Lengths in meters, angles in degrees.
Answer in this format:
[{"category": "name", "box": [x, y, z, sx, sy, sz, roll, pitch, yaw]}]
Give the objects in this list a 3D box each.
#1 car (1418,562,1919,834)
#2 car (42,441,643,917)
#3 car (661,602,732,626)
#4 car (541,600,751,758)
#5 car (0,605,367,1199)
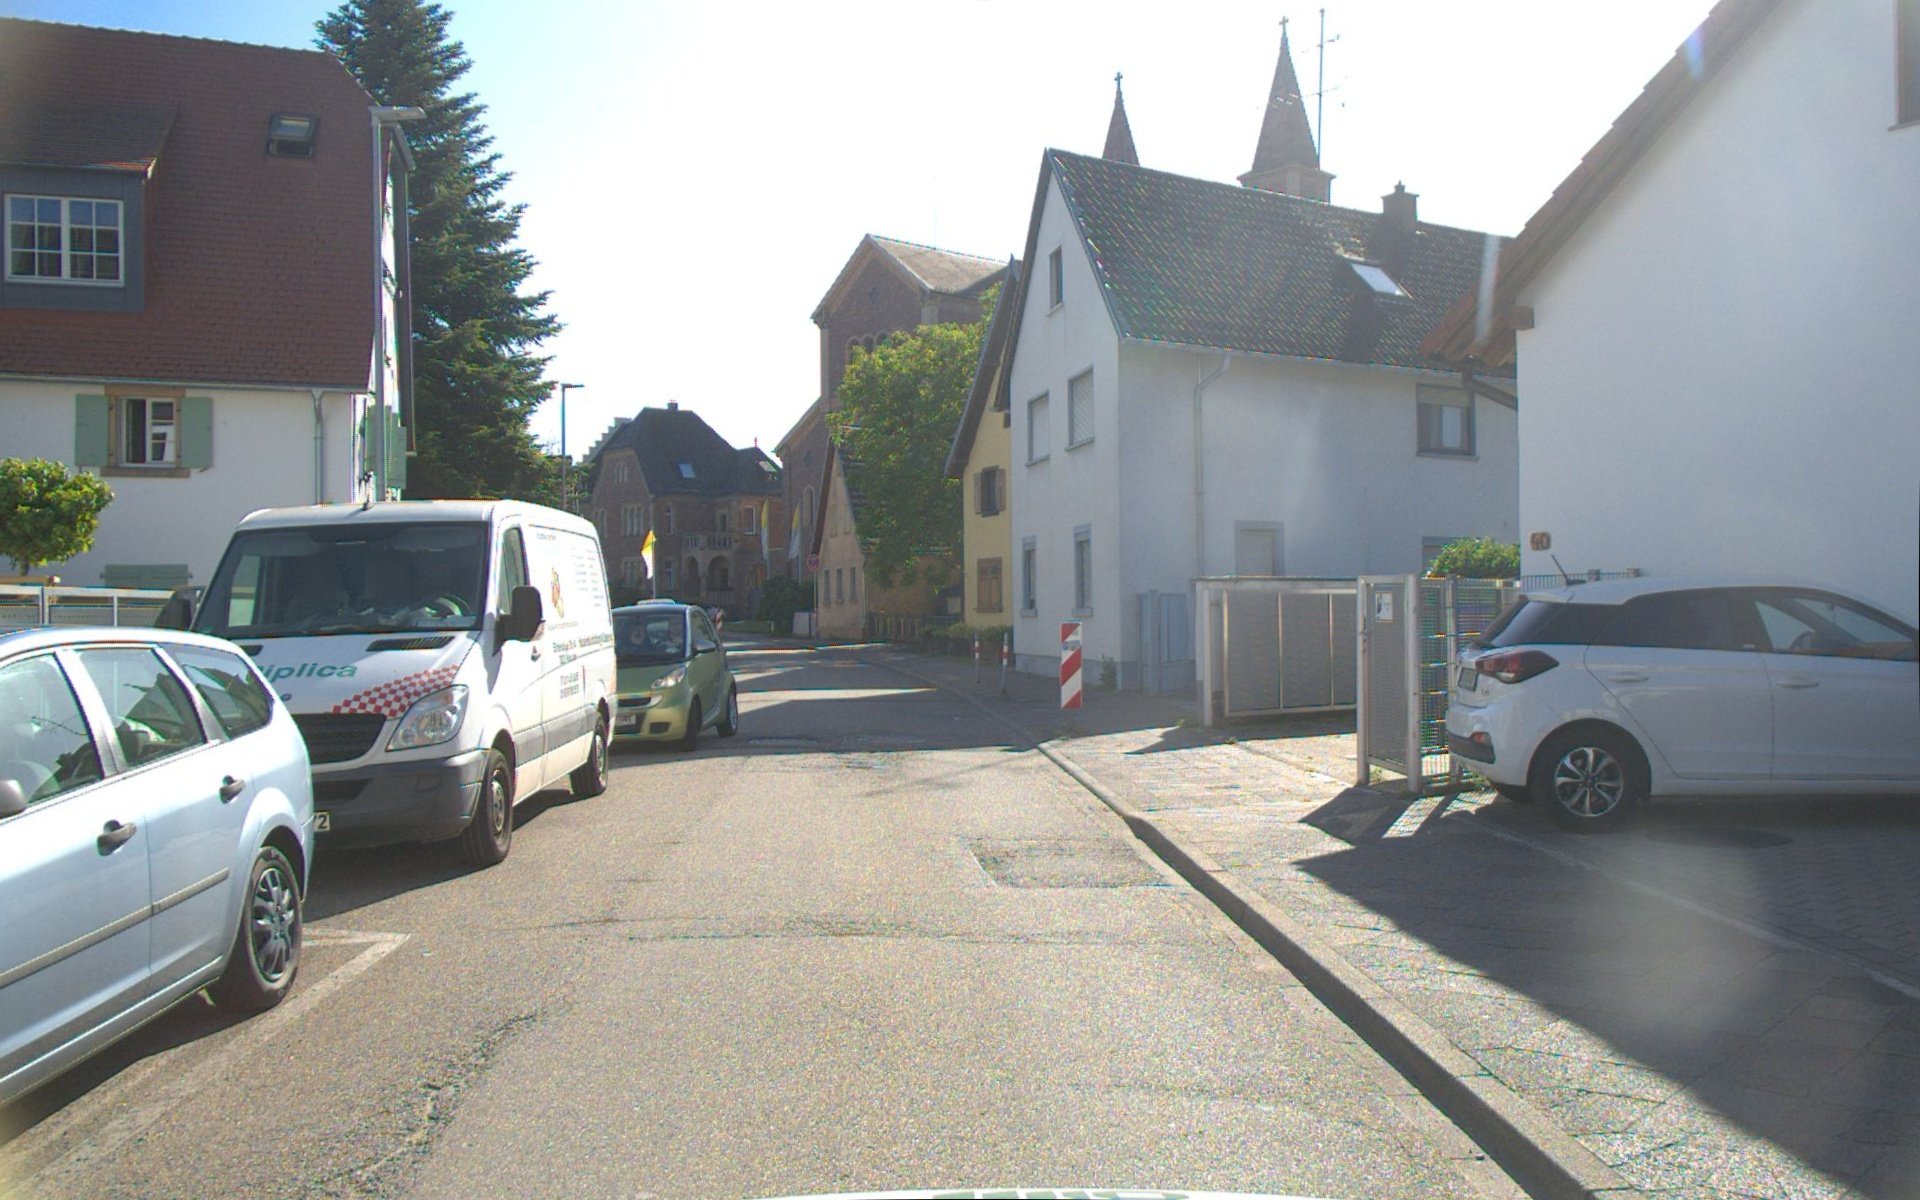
[{"category": "car", "box": [5.040, 0.557, 10.481, 3.829, 1.518, 1.848, -2, 0, 6]}, {"category": "car", "box": [-3.876, 0.406, 11.881, 2.153, 2.431, 6.061, -3, 0, -2]}, {"category": "car", "box": [-16.638, 0.864, 104.590, 4.214, 1.425, 1.691, -2, 0, -44]}, {"category": "car", "box": [-3.413, 0.812, 18.450, 1.541, 1.573, 2.967, -1, 0, 4]}, {"category": "car", "box": [-3.303, 0.826, 4.897, 1.677, 1.530, 4.233, -2, 0, -2]}]
